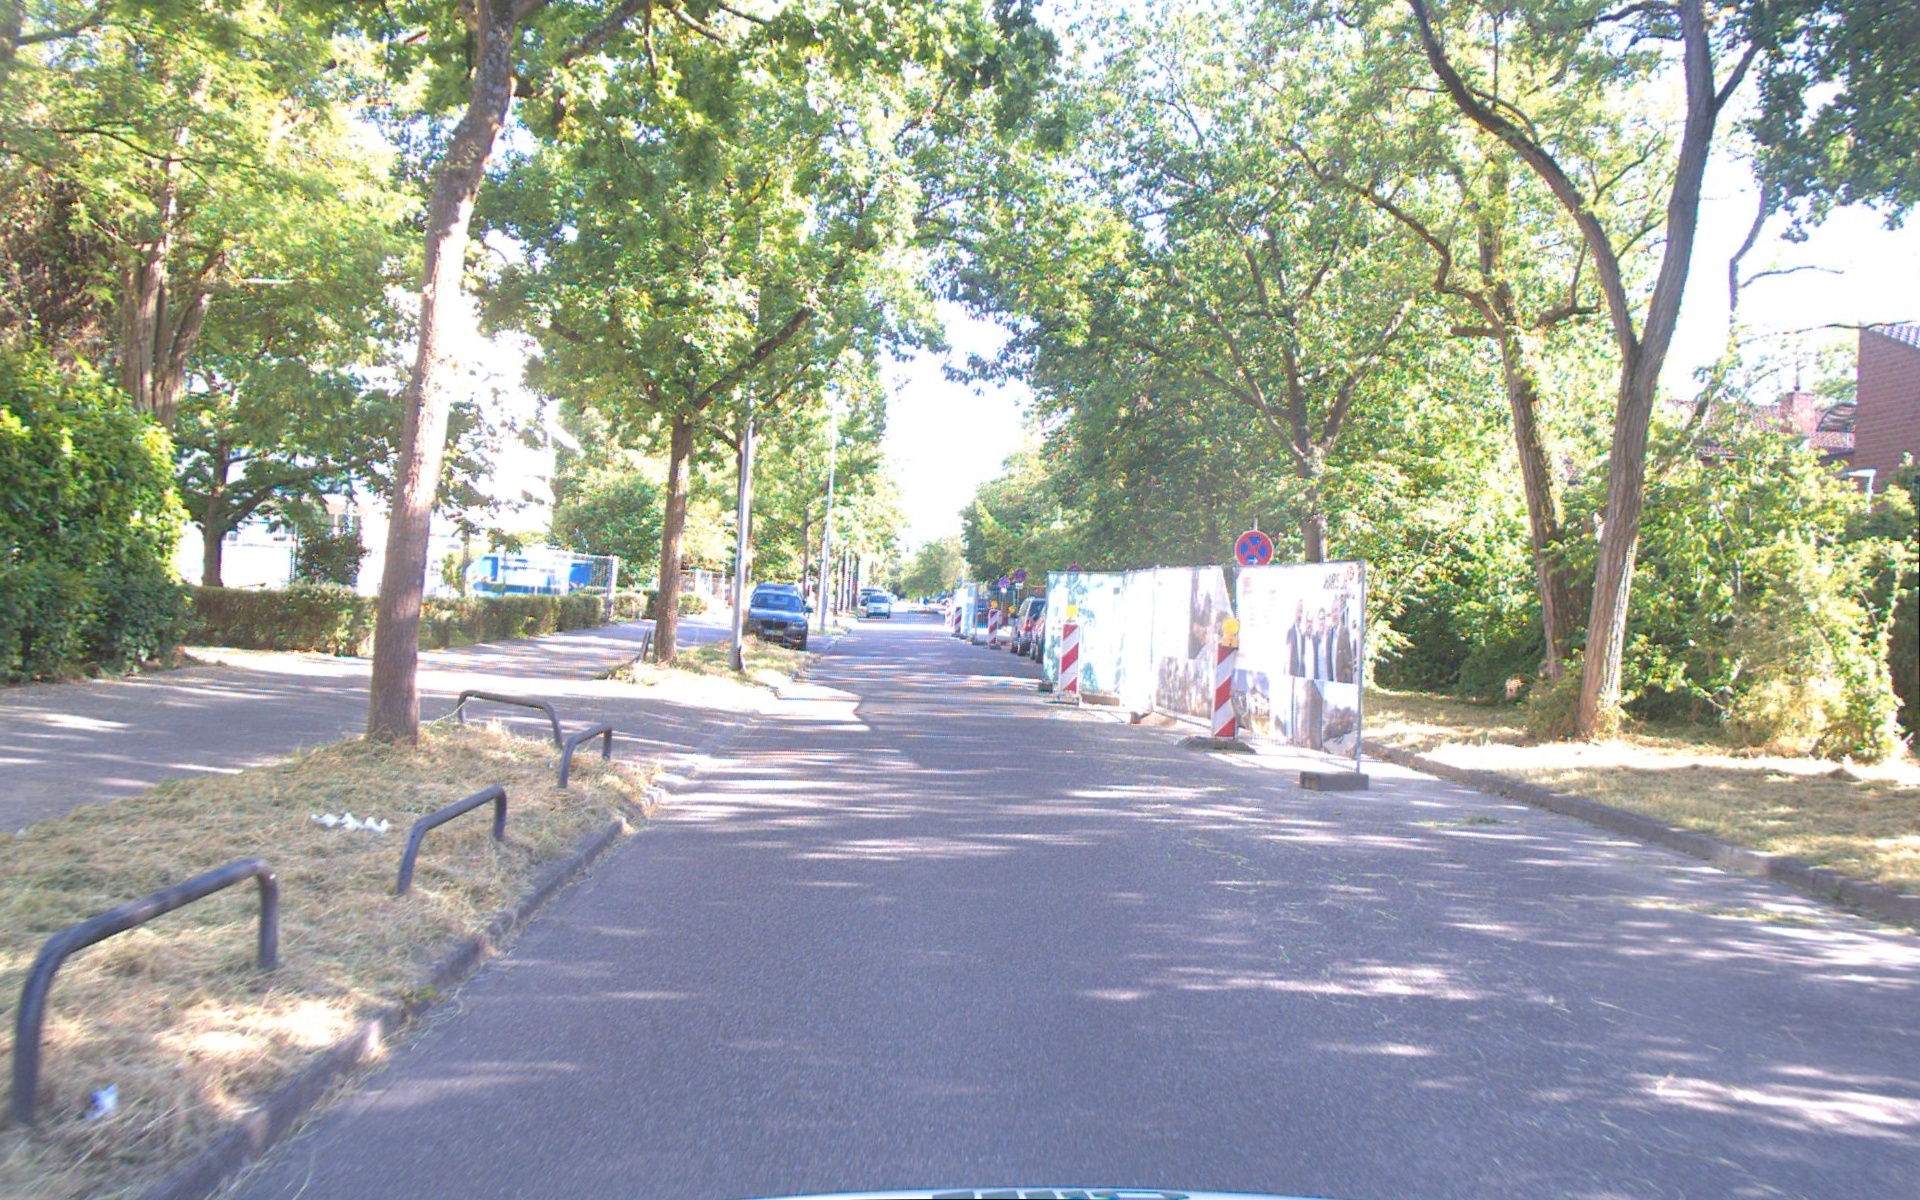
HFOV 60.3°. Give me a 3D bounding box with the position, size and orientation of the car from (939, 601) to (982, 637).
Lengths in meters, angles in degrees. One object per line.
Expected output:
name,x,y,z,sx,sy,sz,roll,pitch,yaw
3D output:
car,0.004,0.767,66.216,1.335,1.325,3.477,4,-1,-5

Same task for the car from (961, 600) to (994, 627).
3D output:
car,1.007,0.783,96.123,1.758,1.434,3.999,3,0,-1

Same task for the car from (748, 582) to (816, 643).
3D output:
car,-5.355,0.368,50.113,1.655,1.704,3.500,3,0,-2

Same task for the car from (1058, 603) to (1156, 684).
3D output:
car,2.960,0.850,33.733,1.471,1.503,3.056,3,0,-4

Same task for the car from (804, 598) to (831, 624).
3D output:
car,-7.741,0.618,90.114,1.335,1.325,3.477,4,-1,-5

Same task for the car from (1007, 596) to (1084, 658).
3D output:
car,2.421,0.745,47.451,1.718,1.623,3.654,3,0,-4

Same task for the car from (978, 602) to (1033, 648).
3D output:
car,1.435,0.796,53.312,1.335,1.325,3.477,4,-1,-5

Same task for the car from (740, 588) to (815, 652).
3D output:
car,-4.714,0.485,43.137,1.716,1.503,3.833,3,0,-4

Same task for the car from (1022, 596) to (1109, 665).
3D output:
car,2.675,0.760,42.782,1.718,1.623,3.654,3,0,-4

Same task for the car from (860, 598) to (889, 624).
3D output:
car,-5.926,0.756,114.634,1.678,1.612,3.994,4,-1,-6

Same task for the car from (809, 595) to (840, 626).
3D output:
car,-6.413,0.517,78.446,1.335,1.325,3.477,4,-1,-5
